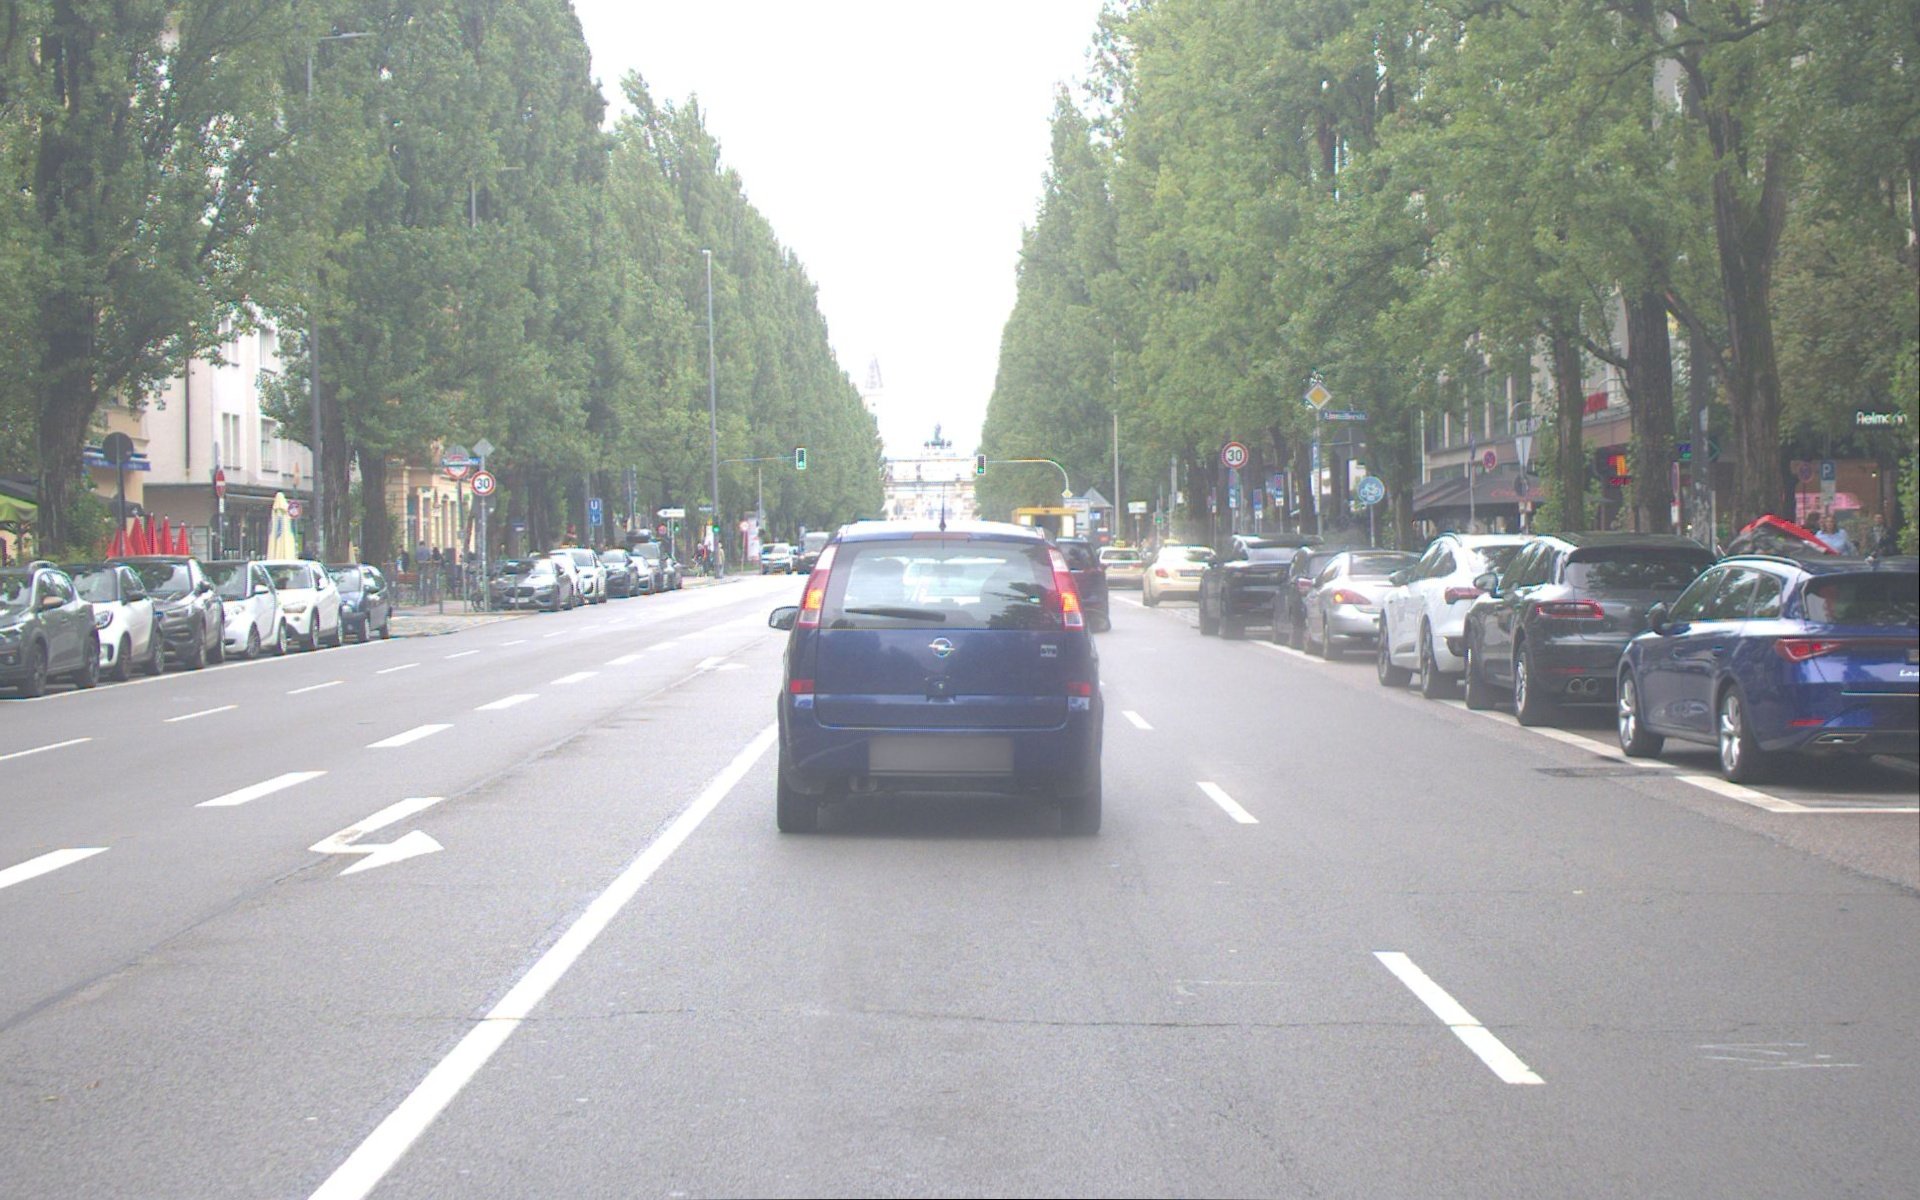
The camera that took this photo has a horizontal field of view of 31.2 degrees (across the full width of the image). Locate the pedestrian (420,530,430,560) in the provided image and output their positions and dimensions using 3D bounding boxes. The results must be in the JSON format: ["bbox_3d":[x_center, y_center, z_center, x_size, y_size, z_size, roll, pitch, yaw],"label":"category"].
[{"bbox_3d":[-19.306,-1.978,124.131,0.289,1.086,0.258,-1,1,5],"label":"pedestrian"}]

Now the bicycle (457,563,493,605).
[{"bbox_3d":[-11.944,-0.396,84.730,0.665,1.002,2.462,-1,1,-4],"label":"bicycle"}]

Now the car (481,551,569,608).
[{"bbox_3d":[-11.419,-0.558,90.392,1.830,1.415,3.811,-1,1,0],"label":"car"}]

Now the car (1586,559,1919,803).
[{"bbox_3d":[5.541,0.454,22.708,1.749,1.400,4.465,-1,1,-3],"label":"car"}]

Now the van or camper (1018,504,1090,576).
[{"bbox_3d":[3.450,-2.213,127.465,2.477,2.572,5.844,-1,1,0],"label":"van or camper"}]

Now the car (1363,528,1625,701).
[{"bbox_3d":[5.318,0.095,34.830,1.827,1.615,4.748,0,1,-1],"label":"car"}]

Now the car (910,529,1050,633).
[{"bbox_3d":[0.265,-0.316,51.911,1.993,1.492,4.000,-1,1,-1],"label":"car"}]

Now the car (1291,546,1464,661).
[{"bbox_3d":[5.426,0.010,45.072,1.670,1.401,4.128,1,1,-1],"label":"car"}]

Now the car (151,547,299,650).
[{"bbox_3d":[-11.488,-0.042,53.850,1.573,1.528,2.922,-1,1,2],"label":"car"}]

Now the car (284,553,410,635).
[{"bbox_3d":[-11.212,-0.129,63.093,1.586,1.442,3.390,-1,1,2],"label":"car"}]

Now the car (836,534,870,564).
[{"bbox_3d":[-6.154,-2.952,198.344,1.835,1.671,3.779,-1,1,-1],"label":"car"}]

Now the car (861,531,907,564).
[{"bbox_3d":[-3.289,-2.302,149.981,1.961,1.394,3.779,-1,1,-1],"label":"car"}]

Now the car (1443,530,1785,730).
[{"bbox_3d":[5.513,0.198,29.548,1.993,1.560,4.484,-1,1,-1],"label":"car"}]

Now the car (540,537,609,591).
[{"bbox_3d":[-11.366,-1.077,101.476,1.654,1.556,3.458,-1,1,0],"label":"car"}]

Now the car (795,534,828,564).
[{"bbox_3d":[-8.786,-3.018,203.915,1.835,1.733,3.779,-1,1,-1],"label":"car"}]

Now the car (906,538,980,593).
[{"bbox_3d":[-0.500,-0.983,96.088,1.993,1.492,4.000,-1,1,-1],"label":"car"}]

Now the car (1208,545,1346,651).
[{"bbox_3d":[5.028,-0.063,54.992,1.797,1.588,4.104,1,1,0],"label":"car"}]

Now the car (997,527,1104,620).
[{"bbox_3d":[1.562,-0.473,60.479,1.706,1.568,4.000,1,1,-1],"label":"car"}]

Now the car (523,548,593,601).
[{"bbox_3d":[-11.279,-0.734,96.624,1.547,1.448,3.458,-1,1,0],"label":"car"}]

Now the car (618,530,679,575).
[{"bbox_3d":[-11.752,-1.794,130.006,1.993,1.656,4.000,-1,1,-1],"label":"car"}]

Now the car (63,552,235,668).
[{"bbox_3d":[-11.610,0.106,49.458,1.840,1.560,4.180,-1,1,-6],"label":"car"}]

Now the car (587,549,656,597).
[{"bbox_3d":[-11.145,-0.910,113.353,1.961,1.525,4.000,-1,1,-2],"label":"car"}]

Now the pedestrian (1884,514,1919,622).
[{"bbox_3d":[14.471,-0.490,52.209,0.653,1.621,0.704,-1,1,-3],"label":"pedestrian"}]

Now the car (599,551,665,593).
[{"bbox_3d":[-11.339,-0.993,119.148,1.961,1.394,3.779,-1,1,-1],"label":"car"}]

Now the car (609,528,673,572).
[{"bbox_3d":[-11.439,-1.793,123.456,1.961,1.543,3.779,-1,1,-1],"label":"car"}]

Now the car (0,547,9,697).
[{"bbox_3d":[-11.513,0.323,35.957,1.864,1.649,4.616,-3,1,-1],"label":"car"}]

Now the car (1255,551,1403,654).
[{"bbox_3d":[5.314,0.012,49.914,1.681,1.410,3.583,1,1,-1],"label":"car"}]

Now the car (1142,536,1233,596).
[{"bbox_3d":[5.406,-0.829,82.063,1.897,1.358,3.900,-1,1,0],"label":"car"}]

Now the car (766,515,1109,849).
[{"bbox_3d":[-0.153,0.363,18.899,1.681,1.635,4.000,0,1,-1],"label":"car"}]

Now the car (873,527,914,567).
[{"bbox_3d":[-3.047,-2.448,158.227,1.835,1.755,3.779,-1,1,-1],"label":"car"}]

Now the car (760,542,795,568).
[{"bbox_3d":[-11.167,-2.740,210.184,1.961,1.543,3.779,-1,1,-1],"label":"car"}]

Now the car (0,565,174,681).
[{"bbox_3d":[-11.506,0.278,45.347,1.631,1.423,2.984,-1,1,-1],"label":"car"}]

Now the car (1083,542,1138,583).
[{"bbox_3d":[5.098,-1.291,116.696,1.669,1.348,4.104,-1,1,0],"label":"car"}]

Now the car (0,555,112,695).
[{"bbox_3d":[-11.368,0.265,40.732,1.697,1.545,4.083,-1,1,-1],"label":"car"}]

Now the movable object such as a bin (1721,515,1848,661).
[{"bbox_3d":[9.823,-0.152,41.018,1.032,1.697,1.587,-1,1,-4],"label":"movable object such as a bin"}]

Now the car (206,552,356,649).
[{"bbox_3d":[-11.354,-0.020,57.725,1.835,1.541,4.087,-1,1,-2],"label":"car"}]

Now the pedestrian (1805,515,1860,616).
[{"bbox_3d":[15.351,-0.609,60.490,0.727,1.745,0.860,1,0,0],"label":"pedestrian"}]
